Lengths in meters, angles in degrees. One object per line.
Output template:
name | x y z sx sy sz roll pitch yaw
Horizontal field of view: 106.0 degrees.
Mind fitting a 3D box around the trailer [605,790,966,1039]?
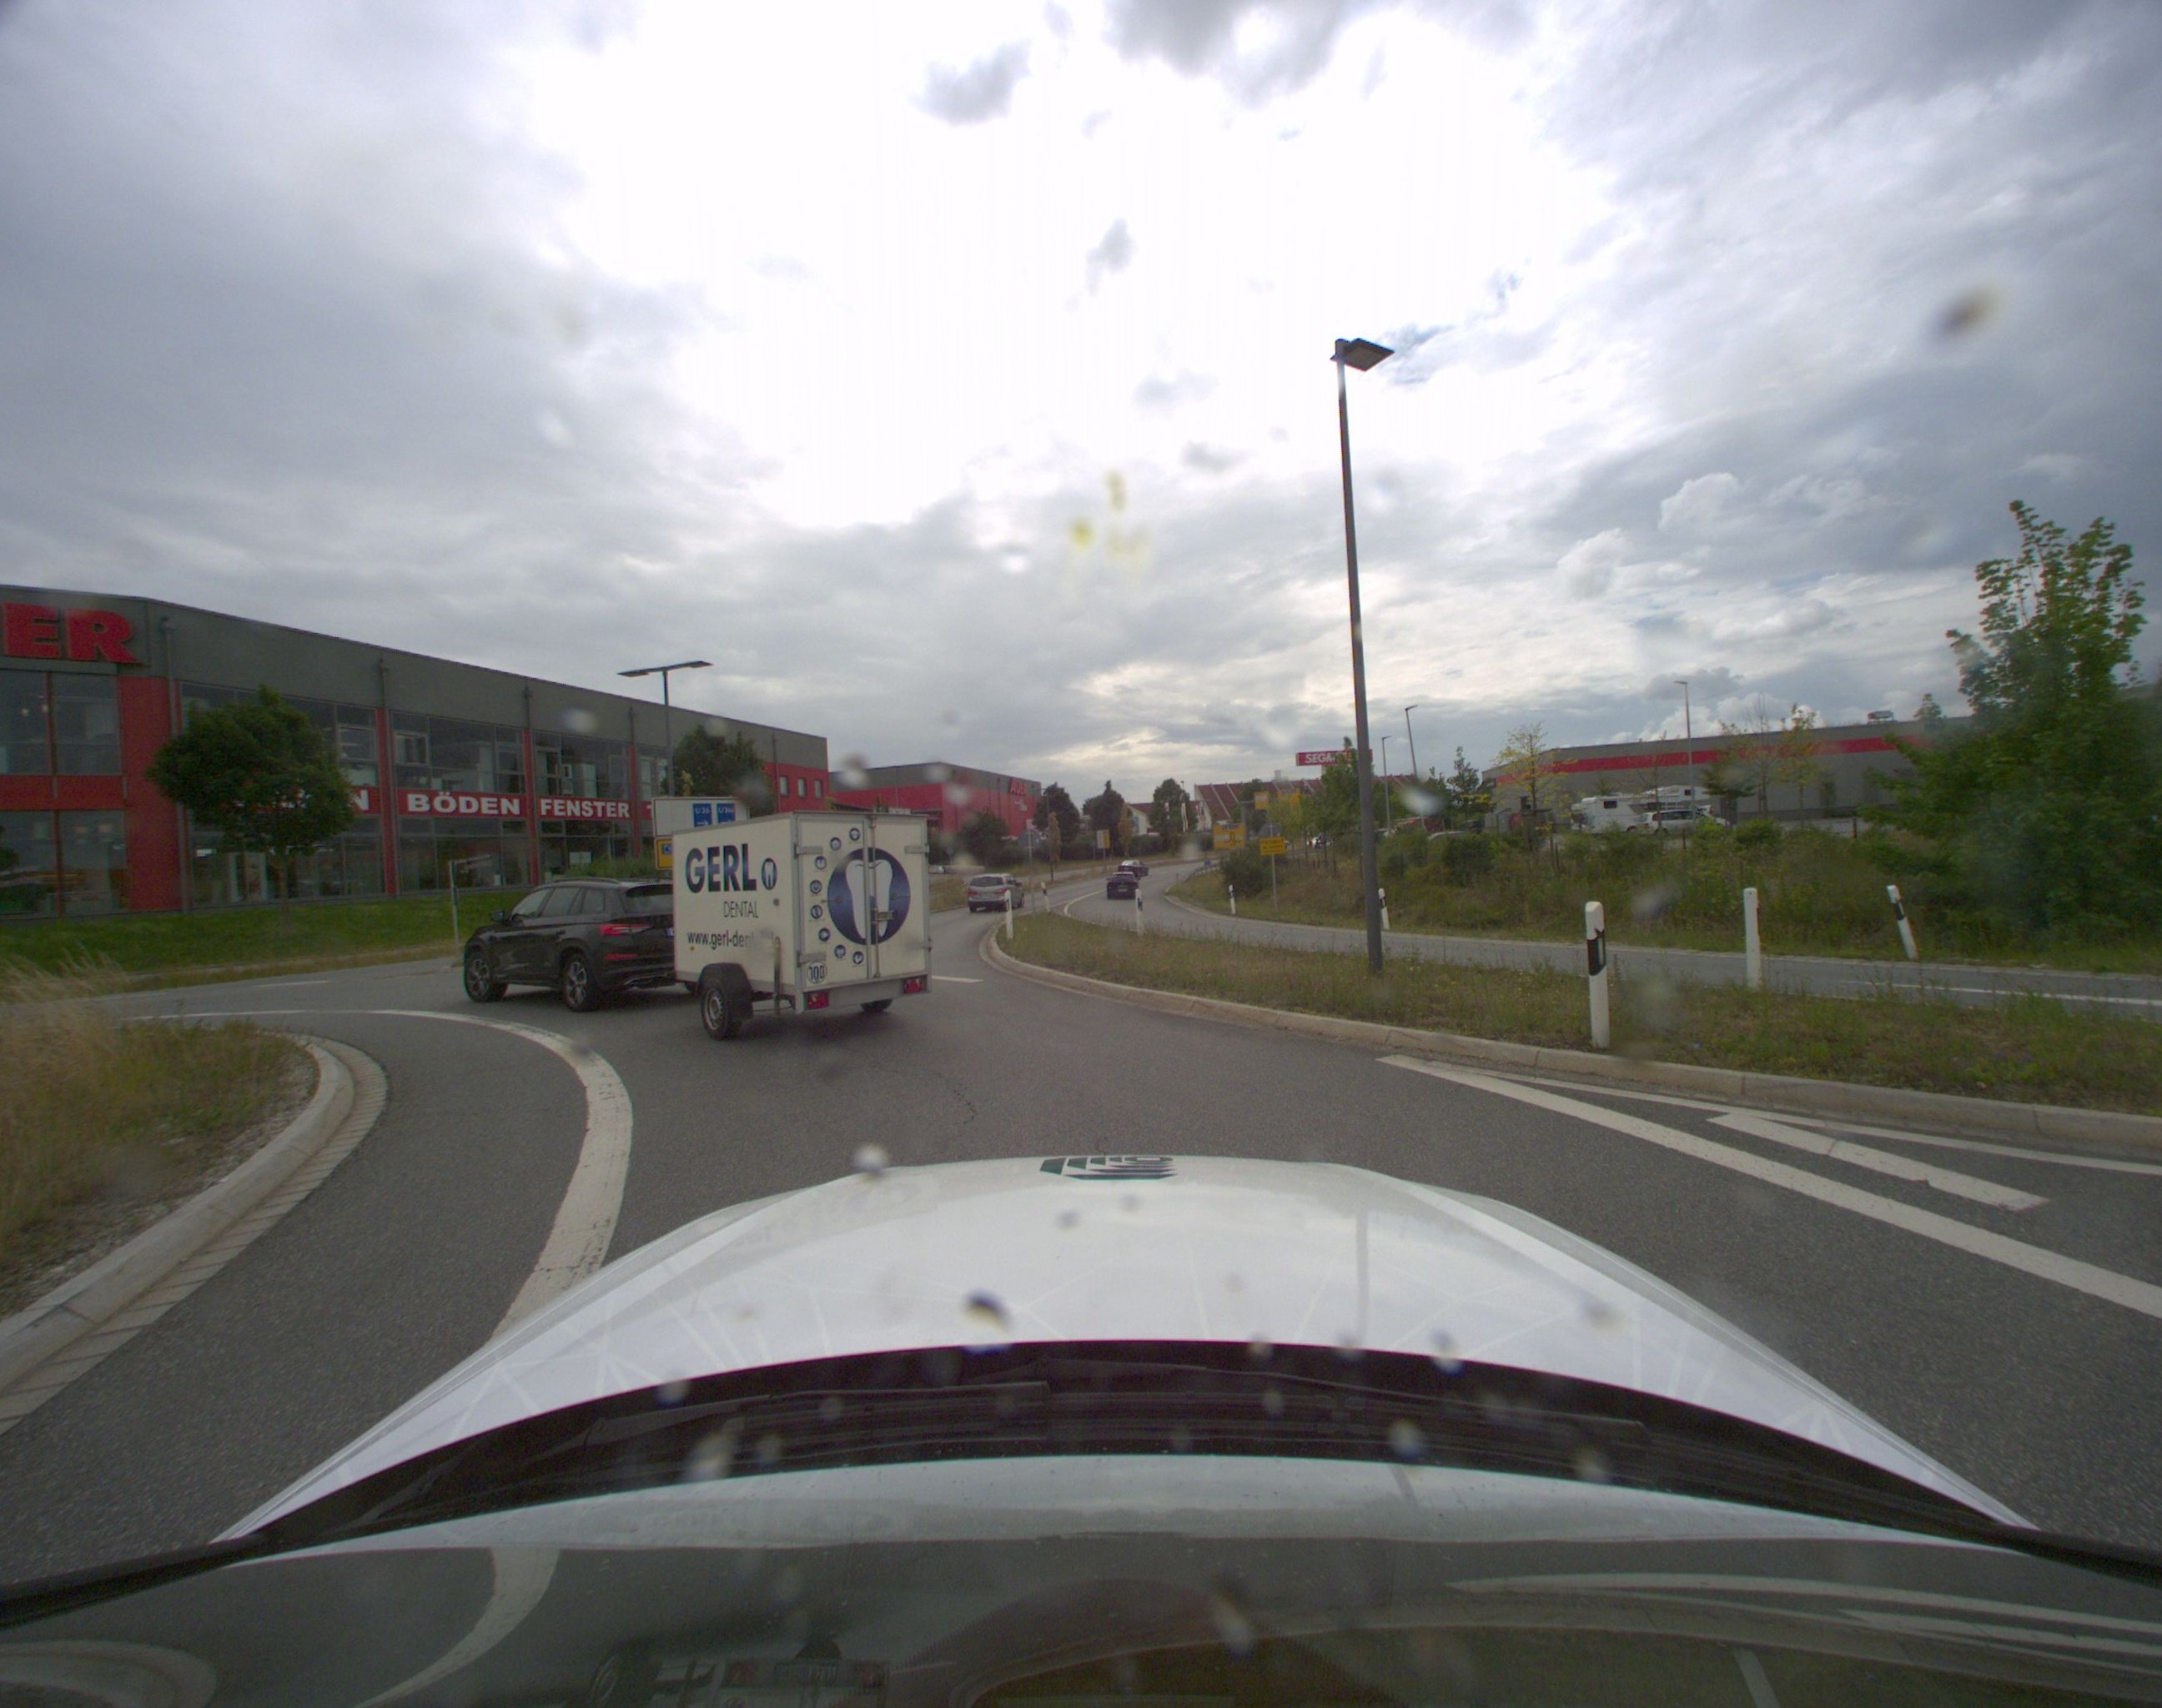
trailer | -3.358 0.576 8.859 4.092 2.091 1.824 -3 -1 40

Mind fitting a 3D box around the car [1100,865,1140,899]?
car | 2.217 1.490 44.888 1.859 1.605 3.742 -3 0 7

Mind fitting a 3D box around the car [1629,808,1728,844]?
car | 33.385 -1.549 45.615 4.017 1.720 1.788 -3 -1 17

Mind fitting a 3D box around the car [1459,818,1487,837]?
car | 41.843 -2.859 87.011 1.688 1.811 3.985 -6 0 13

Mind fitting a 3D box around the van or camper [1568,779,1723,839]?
van or camper | 35.824 -2.827 51.957 7.658 3.178 2.502 -4 1 14

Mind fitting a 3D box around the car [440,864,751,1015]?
car | -6.824 1.089 11.293 4.556 1.670 1.828 -3 -1 33

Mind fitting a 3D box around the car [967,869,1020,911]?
car | -3.764 1.522 35.642 1.761 1.616 3.921 -3 -1 0

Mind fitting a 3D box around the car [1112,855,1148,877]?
car | 4.058 0.961 66.826 1.890 1.618 4.019 -3 -1 19
